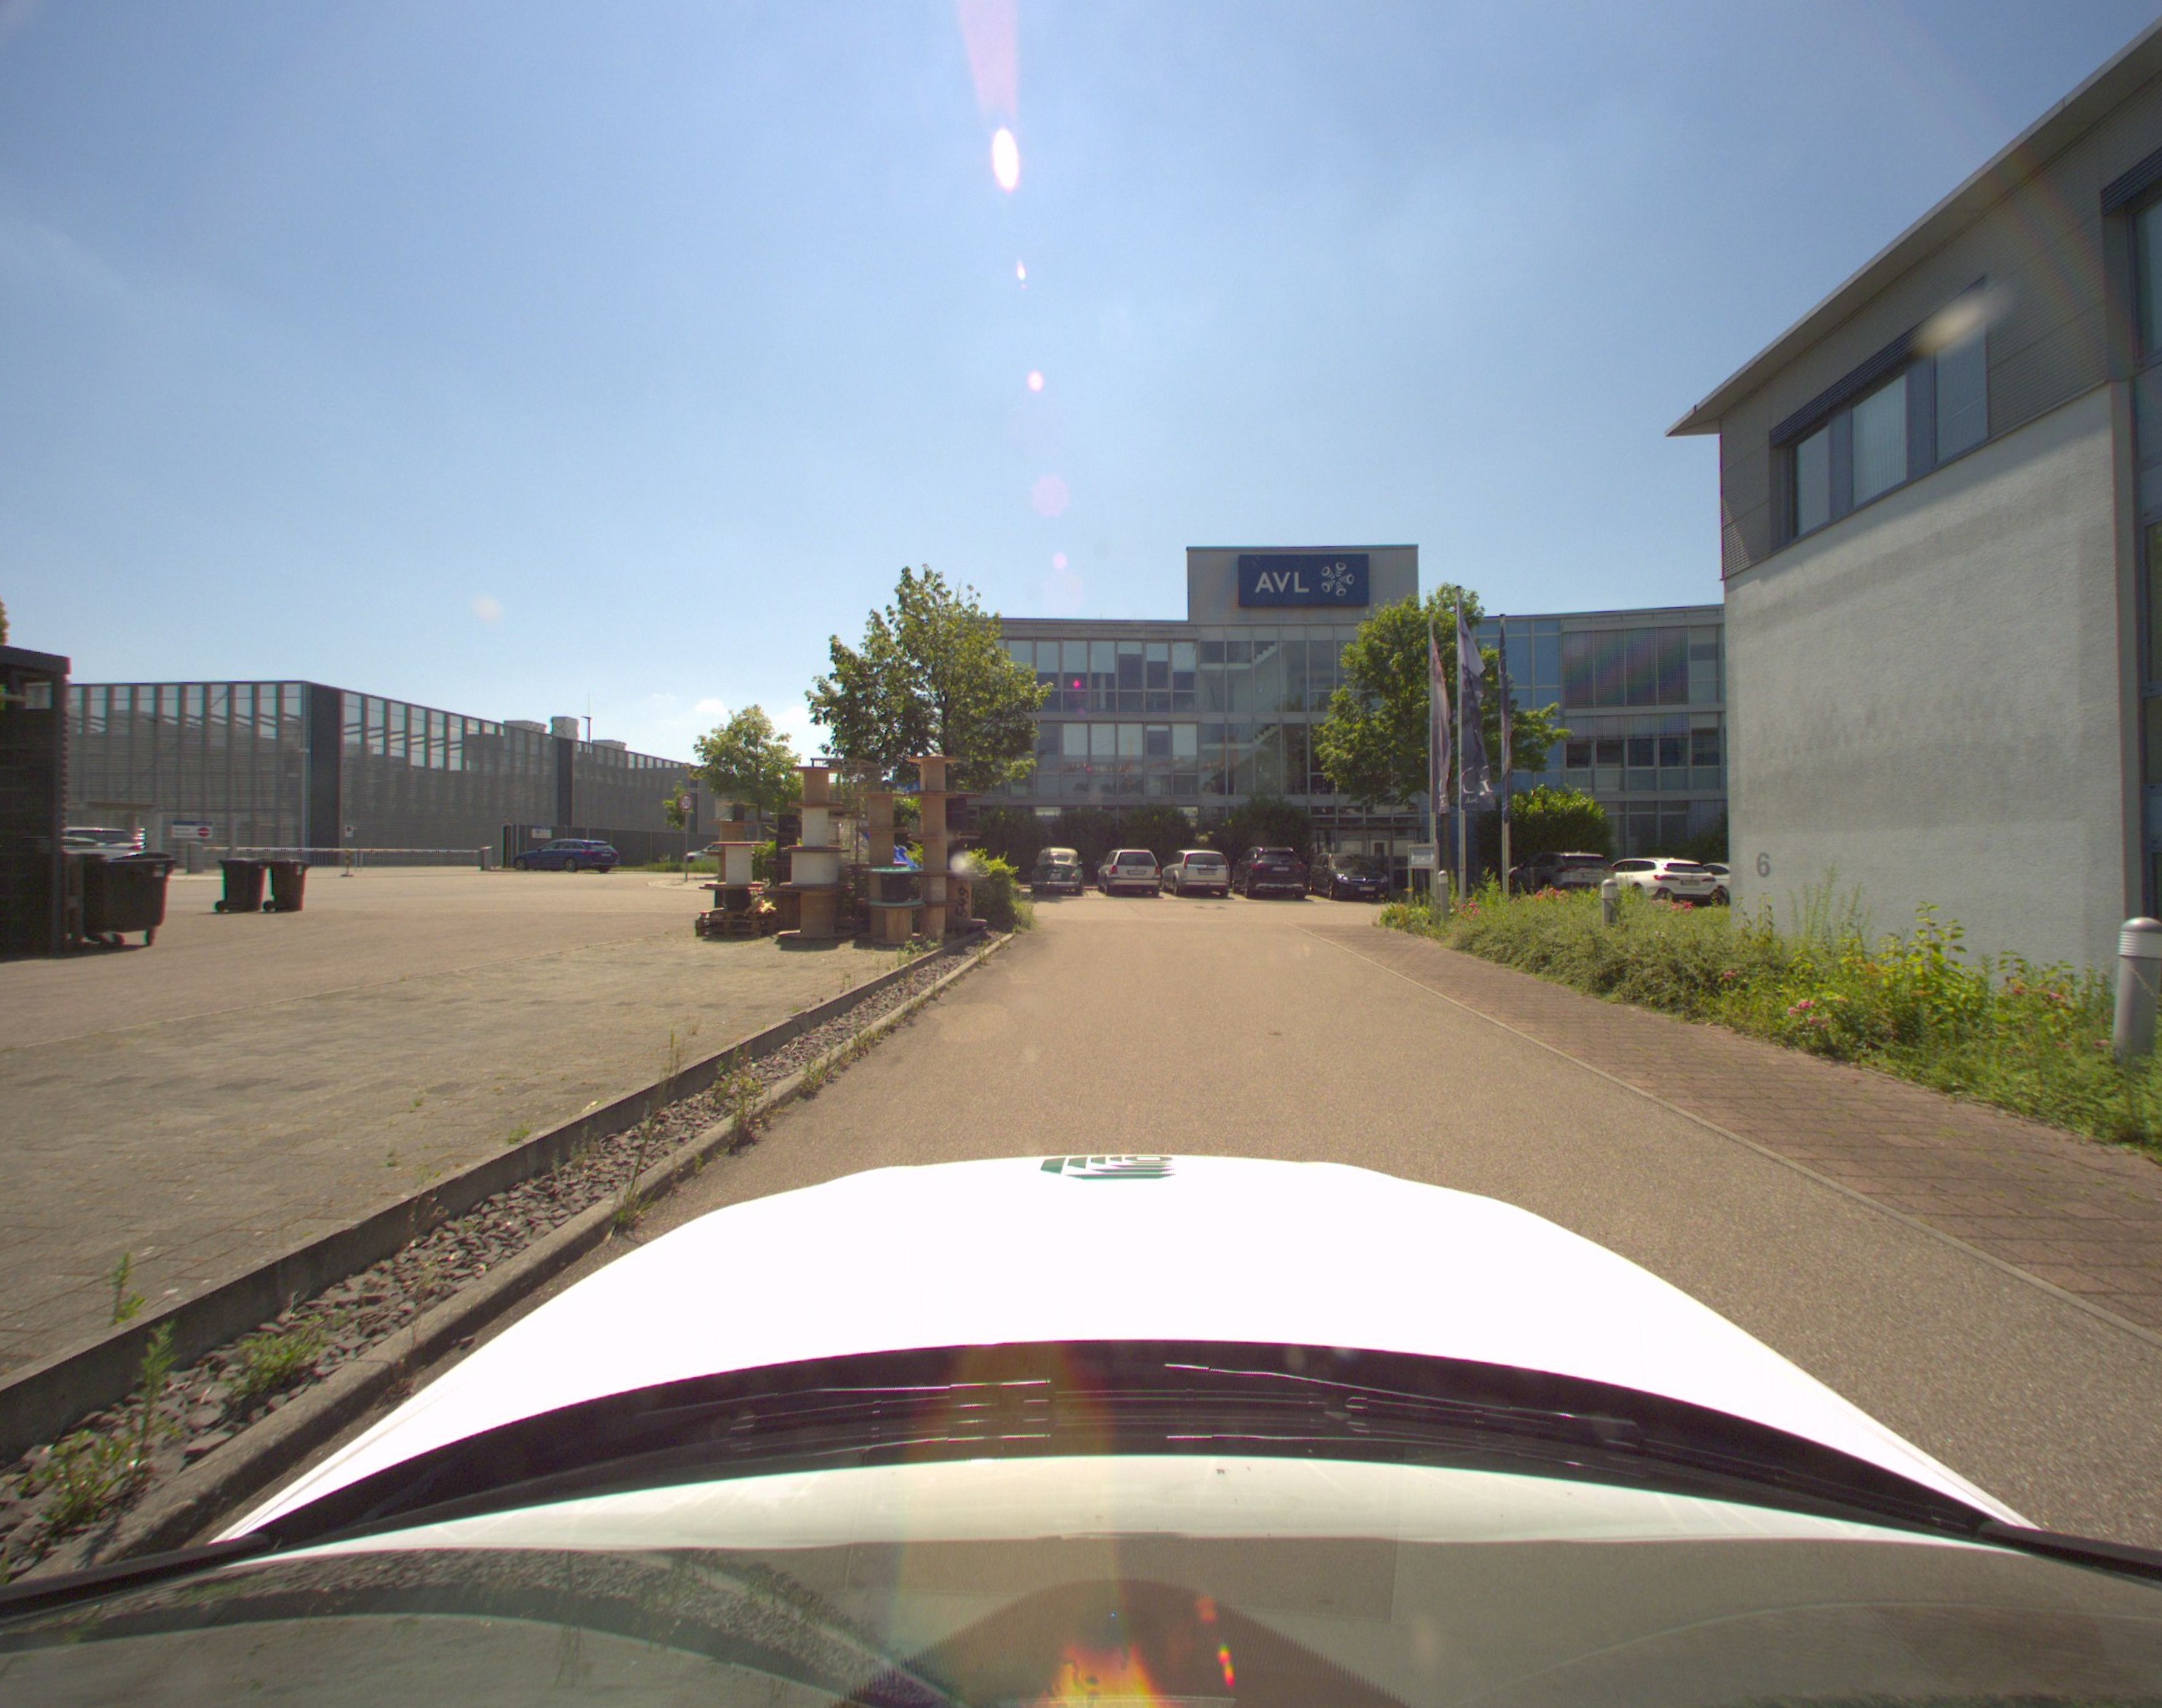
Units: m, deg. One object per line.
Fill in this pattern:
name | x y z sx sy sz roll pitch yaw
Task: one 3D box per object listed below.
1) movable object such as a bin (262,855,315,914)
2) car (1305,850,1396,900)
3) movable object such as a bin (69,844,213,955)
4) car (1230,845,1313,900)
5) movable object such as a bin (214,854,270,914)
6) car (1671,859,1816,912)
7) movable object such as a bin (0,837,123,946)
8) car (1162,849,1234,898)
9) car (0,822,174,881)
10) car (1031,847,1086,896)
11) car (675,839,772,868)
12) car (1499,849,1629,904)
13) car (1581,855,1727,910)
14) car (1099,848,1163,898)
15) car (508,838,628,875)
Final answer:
movable object such as a bin | -14.219 0.534 14.617 0.580 1.036 0.421 0 0 -30
car | 8.764 0.636 26.844 1.763 1.482 4.261 0 1 2
movable object such as a bin | -11.922 0.546 10.355 0.806 1.345 0.886 0 0 9
car | 6.162 0.551 26.839 1.919 1.610 3.989 1 1 2
movable object such as a bin | -14.740 0.523 14.320 0.583 1.027 0.421 0 0 -30
car | 20.727 0.917 25.719 1.724 1.429 4.354 2 1 12
movable object such as a bin | -13.301 0.462 10.507 0.703 1.330 0.976 0 0 9
car | 3.832 0.595 27.193 1.761 1.449 3.651 1 1 -2
car | -27.706 -0.074 22.473 3.956 1.492 2.009 1 -1 17
car | -0.660 0.507 26.482 1.536 1.449 3.655 1 1 2
car | -19.907 -0.030 45.371 4.801 1.491 2.009 1 1 17
car | 15.518 0.654 26.463 1.812 1.619 4.342 0 1 2
car | 18.050 0.833 25.936 1.729 1.491 4.342 1 1 2
car | 1.559 0.559 26.652 1.727 1.449 3.651 1 1 -2
car | -22.575 0.064 35.889 4.465 1.491 2.009 1 1 17
